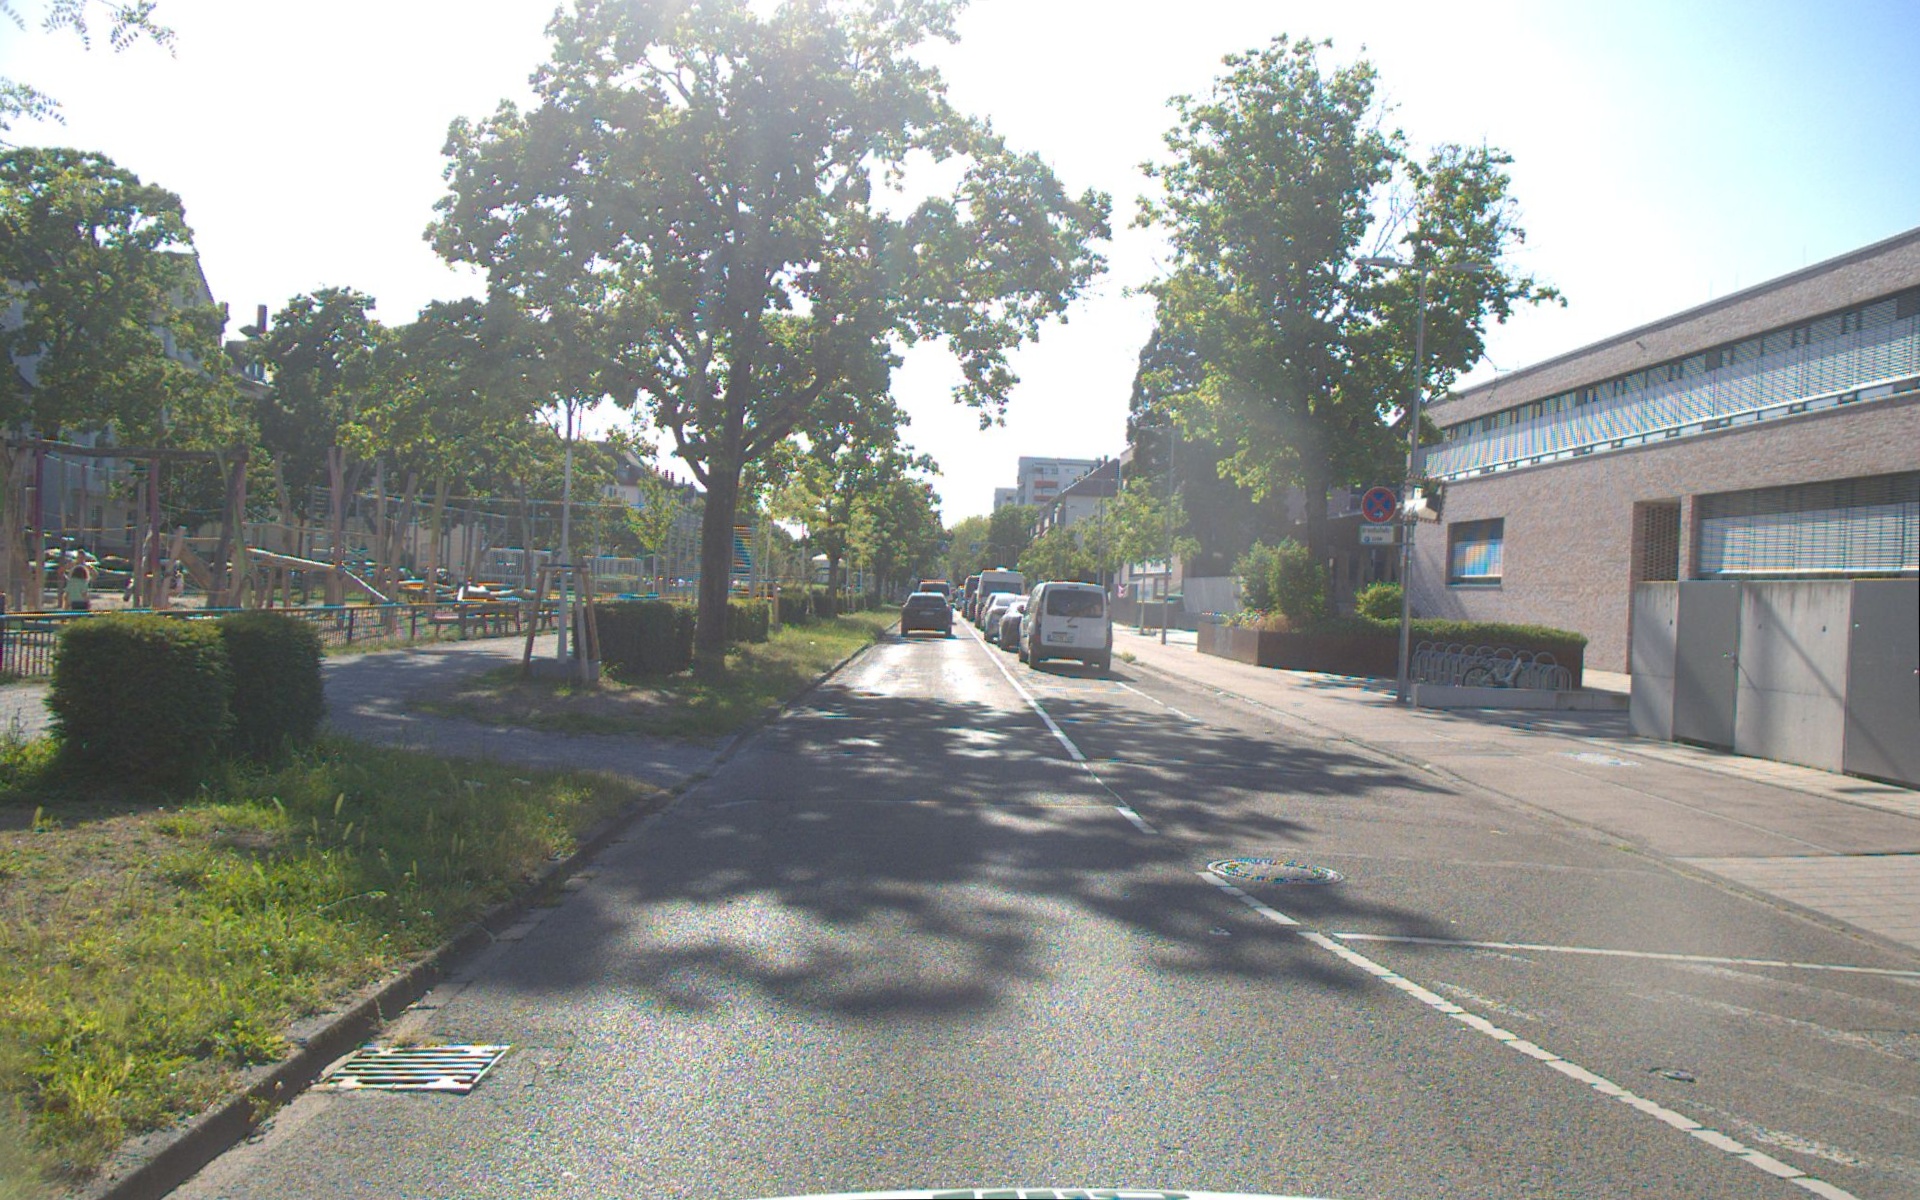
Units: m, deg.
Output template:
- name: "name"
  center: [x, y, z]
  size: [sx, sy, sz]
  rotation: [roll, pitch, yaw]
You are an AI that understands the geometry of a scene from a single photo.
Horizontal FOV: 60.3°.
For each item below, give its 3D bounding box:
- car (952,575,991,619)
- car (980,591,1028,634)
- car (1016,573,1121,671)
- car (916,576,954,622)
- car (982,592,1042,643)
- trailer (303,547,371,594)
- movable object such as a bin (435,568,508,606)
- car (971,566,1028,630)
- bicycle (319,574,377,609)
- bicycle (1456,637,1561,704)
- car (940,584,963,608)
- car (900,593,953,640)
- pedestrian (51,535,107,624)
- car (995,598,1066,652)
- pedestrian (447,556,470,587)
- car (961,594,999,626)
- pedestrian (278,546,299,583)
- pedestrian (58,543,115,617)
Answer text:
- name: "car"
  center: [0.697, -0.183, 103.085]
  size: [2.073, 2.559, 6.529]
  rotation: [2, 0, -2]
- name: "car"
  center: [1.715, 0.475, 65.847]
  size: [1.587, 1.616, 3.590]
  rotation: [2, 0, -3]
- name: "car"
  center: [2.329, 0.450, 36.568]
  size: [1.772, 1.941, 4.459]
  rotation: [3, 0, -2]
- name: "car"
  center: [-1.220, -0.039, 82.579]
  size: [1.758, 2.159, 4.000]
  rotation: [2, 0, 0]
- name: "car"
  center: [1.631, 0.531, 53.025]
  size: [1.667, 1.504, 4.173]
  rotation: [3, 0, -1]
- name: "trailer"
  center: [-40.882, -1.916, 108.686]
  size: [2.296, 2.920, 5.801]
  rotation: [3, 0, -2]
- name: "movable object such as a bin"
  center: [-17.302, -0.473, 58.605]
  size: [2.285, 1.263, 1.055]
  rotation: [1, 0, -5]
- name: "car"
  center: [1.697, -0.085, 73.147]
  size: [2.195, 2.619, 5.431]
  rotation: [3, 0, -1]
- name: "bicycle"
  center: [-20.889, -0.283, 56.470]
  size: [1.758, 1.127, 0.500]
  rotation: [3, 0, -3]
- name: "bicycle"
  center: [9.674, 1.241, 29.199]
  size: [1.635, 1.047, 0.500]
  rotation: [4, 0, -3]
- name: "car"
  center: [-0.675, -0.371, 136.693]
  size: [1.757, 1.887, 4.414]
  rotation: [2, 0, 1]
- name: "car"
  center: [-1.156, 0.548, 58.115]
  size: [1.758, 1.536, 4.000]
  rotation: [2, 0, 0]
- name: "pedestrian"
  center: [-17.205, -0.396, 32.311]
  size: [0.634, 1.690, 0.650]
  rotation: [2, 0, 17]
- name: "car"
  center: [1.949, 0.679, 46.734]
  size: [1.667, 1.348, 4.128]
  rotation: [3, 0, -1]
- name: "pedestrian"
  center: [-22.032, -1.261, 72.661]
  size: [0.636, 1.341, 0.649]
  rotation: [2, 0, 28]
- name: "car"
  center: [1.070, 0.539, 90.630]
  size: [1.809, 1.669, 4.502]
  rotation: [2, 0, -2]
- name: "pedestrian"
  center: [-31.150, -1.652, 76.726]
  size: [0.635, 1.690, 0.650]
  rotation: [1, 0, -1]
- name: "pedestrian"
  center: [-16.409, -0.376, 31.072]
  size: [0.634, 1.352, 0.650]
  rotation: [3, 0, 17]
